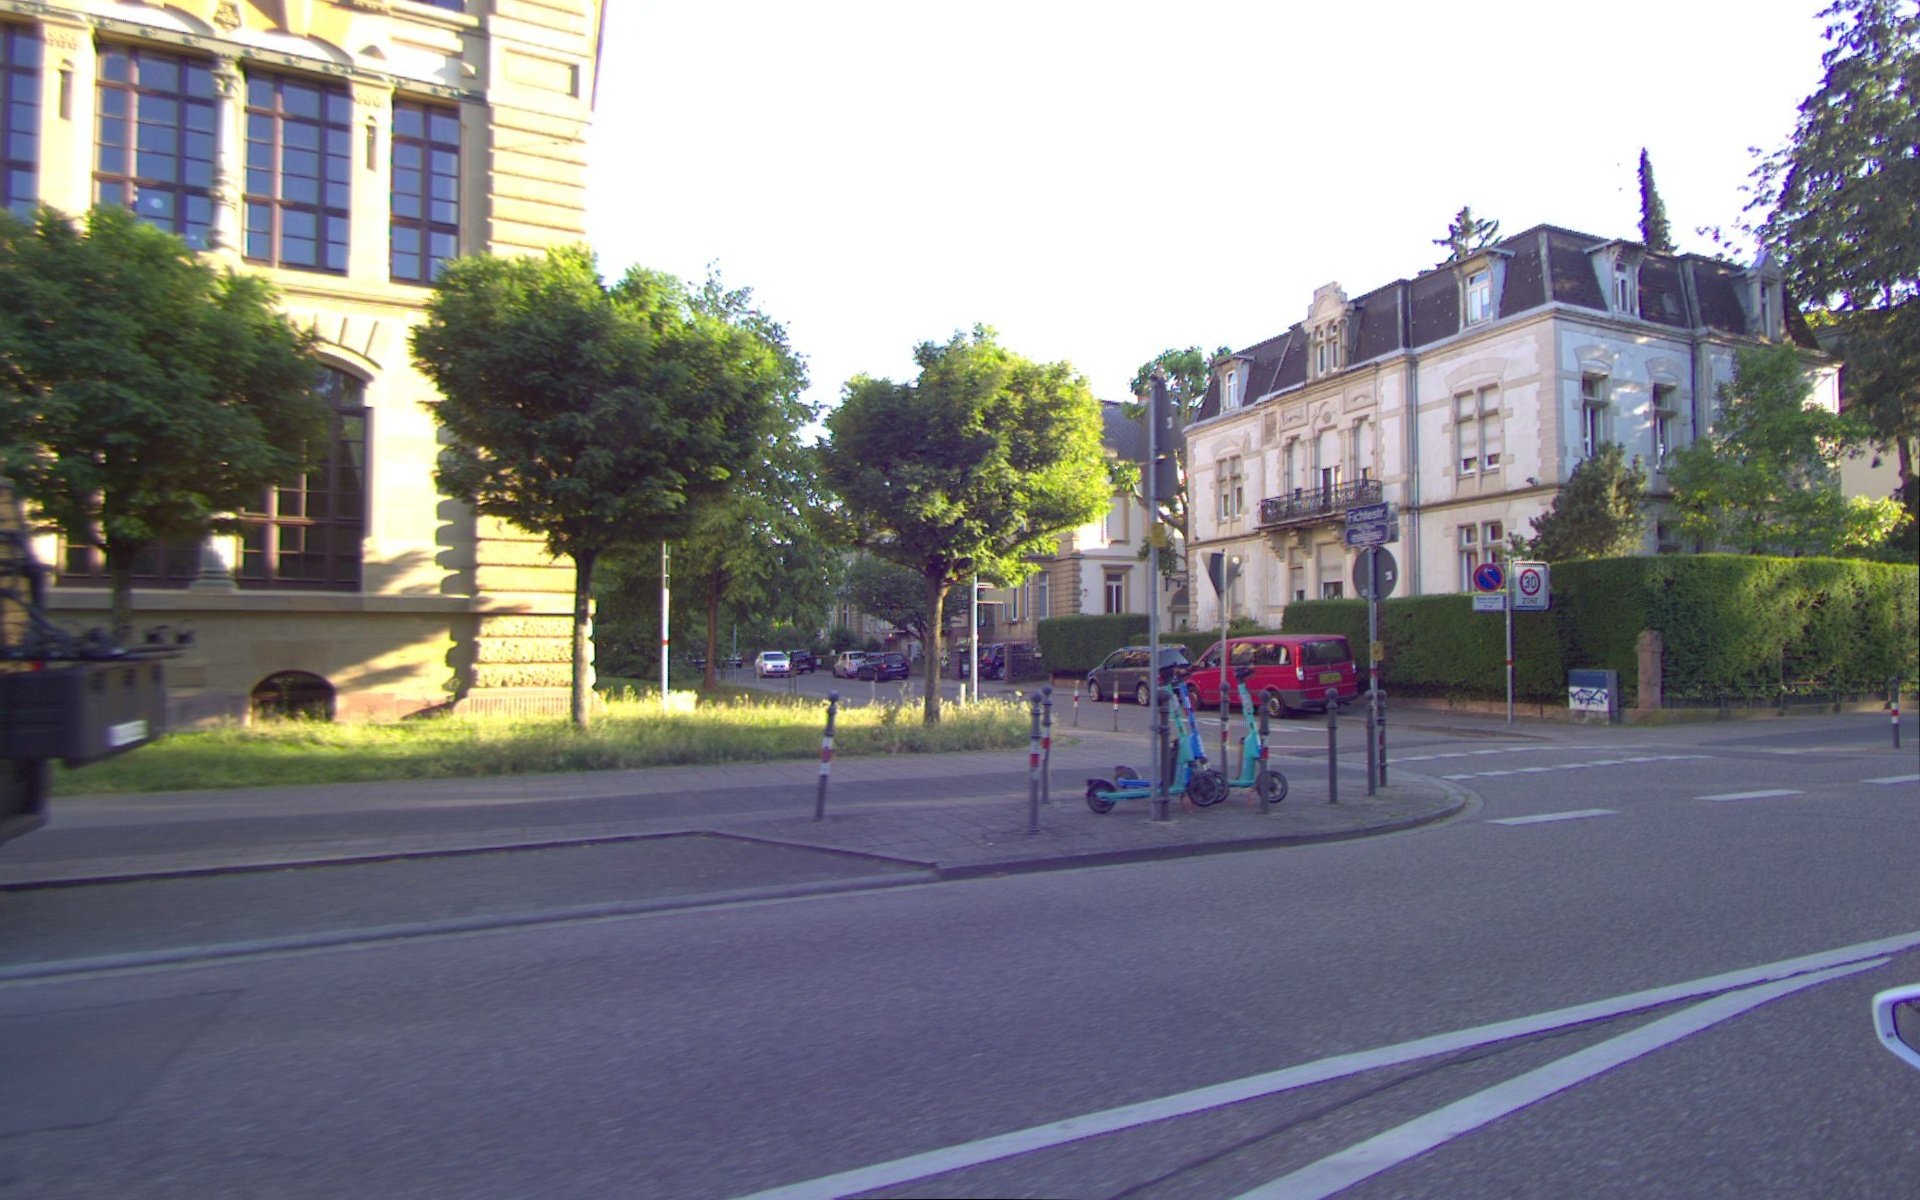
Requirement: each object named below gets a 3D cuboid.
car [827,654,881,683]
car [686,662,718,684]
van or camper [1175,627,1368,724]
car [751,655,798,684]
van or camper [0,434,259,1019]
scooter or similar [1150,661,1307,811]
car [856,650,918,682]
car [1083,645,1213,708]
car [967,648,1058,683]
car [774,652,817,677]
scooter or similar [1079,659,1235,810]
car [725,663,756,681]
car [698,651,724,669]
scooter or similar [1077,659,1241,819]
[{"bbox_3d":[-6.146,3.895,57.713,1.972,1.599,3.977,1,-3,-24],"label":"car"},{"bbox_3d":[-18.802,5.284,73.071,1.659,1.479,3.977,1,-3,-24],"label":"car"},{"bbox_3d":[7.603,1.824,25.082,1.970,2.012,4.762,-4,-2,-21],"label":"van or camper"},{"bbox_3d":[-10.770,3.979,58.099,1.971,1.594,3.981,0,-3,-22],"label":"car"},{"bbox_3d":[-7.407,0.530,4.194,6.982,2.578,2.224,1,-2,-25],"label":"van or camper"},{"bbox_3d":[2.468,1.218,9.300,1.321,1.291,0.431,-2,-3,32],"label":"scooter or similar"},{"bbox_3d":[-3.848,3.420,52.402,1.972,1.599,3.977,1,-3,-24],"label":"car"},{"bbox_3d":[5.482,2.218,29.811,1.893,1.695,3.978,0,-3,-24],"label":"car"},{"bbox_3d":[2.576,3.205,49.357,3.942,1.483,1.990,-2,-2,-22],"label":"car"},{"bbox_3d":[-11.156,4.334,67.975,1.972,1.599,3.977,1,-3,-24],"label":"car"},{"bbox_3d":[1.787,1.183,9.172,1.321,1.291,0.431,-2,-3,32],"label":"scooter or similar"},{"bbox_3d":[-19.908,6.495,91.057,1.972,1.599,3.977,1,-3,-24],"label":"car"},{"bbox_3d":[-25.537,6.110,102.945,1.833,1.639,3.976,1,-2,-25],"label":"car"},{"bbox_3d":[1.674,1.153,8.508,1.317,1.291,0.432,-1,-3,12],"label":"scooter or similar"}]
